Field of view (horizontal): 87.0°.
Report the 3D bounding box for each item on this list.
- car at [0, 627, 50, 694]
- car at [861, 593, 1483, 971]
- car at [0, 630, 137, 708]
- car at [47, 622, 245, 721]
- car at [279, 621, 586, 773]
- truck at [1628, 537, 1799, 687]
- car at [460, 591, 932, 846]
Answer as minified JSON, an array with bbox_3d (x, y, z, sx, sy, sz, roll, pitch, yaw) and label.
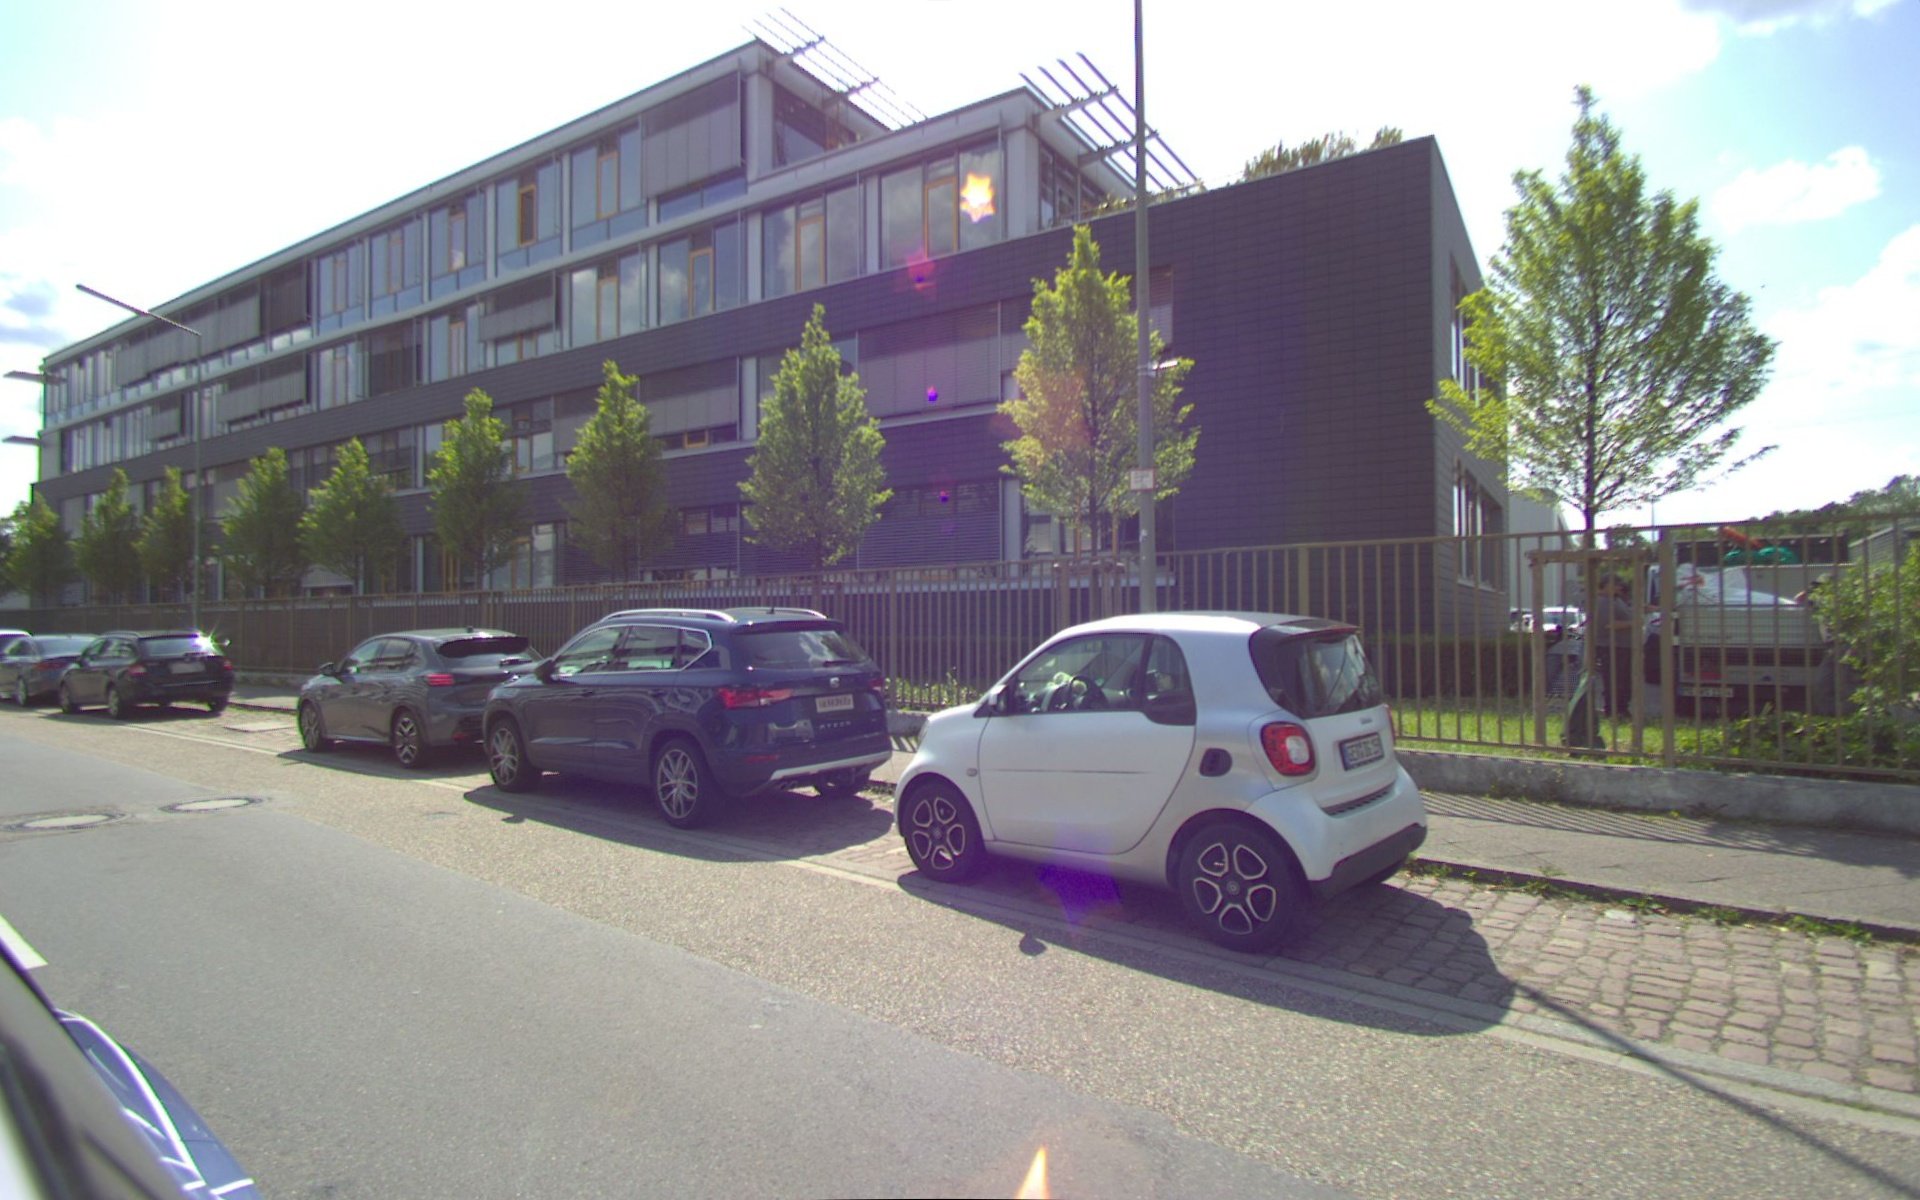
[{"bbox_3d":[-23.586,1.448,24.267,3.503,1.493,1.649,-1,0,31],"label":"car"},{"bbox_3d":[1.073,0.766,5.742,3.073,1.534,1.592,-1,-1,41],"label":"car"},{"bbox_3d":[-19.076,1.387,21.244,4.094,1.407,1.648,-1,0,34],"label":"car"},{"bbox_3d":[-14.700,1.224,18.227,3.989,1.542,1.648,-2,0,34],"label":"car"},{"bbox_3d":[-6.352,1.026,12.031,3.924,1.456,1.718,-1,0,37],"label":"car"},{"bbox_3d":[15.821,0.263,21.658,2.398,2.678,6.857,-1,-1,33],"label":"truck"},{"bbox_3d":[-2.429,0.814,8.679,4.306,1.668,1.716,-1,-1,39],"label":"car"}]
